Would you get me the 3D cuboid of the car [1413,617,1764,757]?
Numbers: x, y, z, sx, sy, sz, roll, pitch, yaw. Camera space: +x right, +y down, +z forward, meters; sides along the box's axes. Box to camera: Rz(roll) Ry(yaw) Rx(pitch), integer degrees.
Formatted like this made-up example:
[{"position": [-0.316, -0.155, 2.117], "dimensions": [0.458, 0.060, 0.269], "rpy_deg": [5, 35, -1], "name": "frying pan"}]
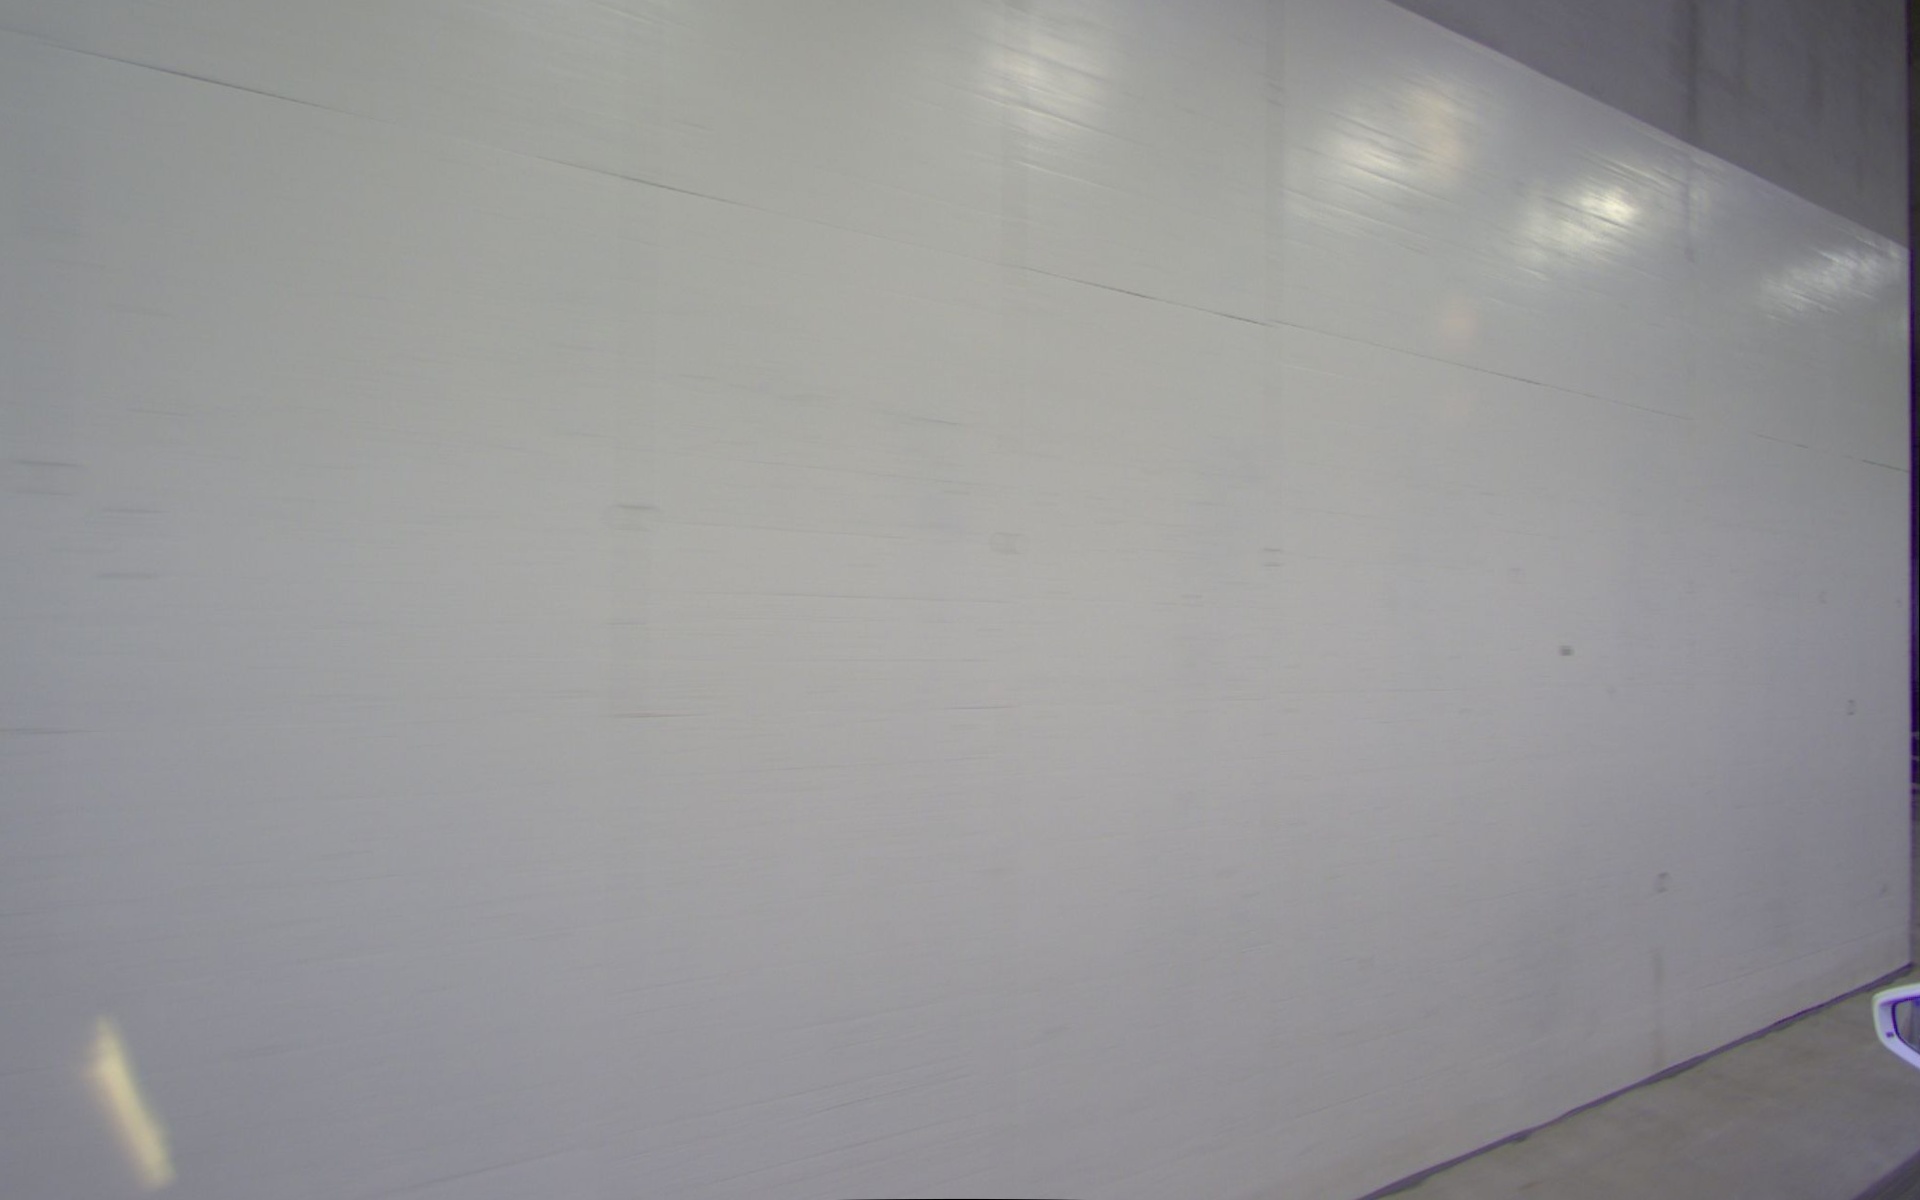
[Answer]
[{"position": [8.036, 0.983, 12.719], "dimensions": [4.793, 1.441, 1.688], "rpy_deg": [1, 1, -30], "name": "car"}]
